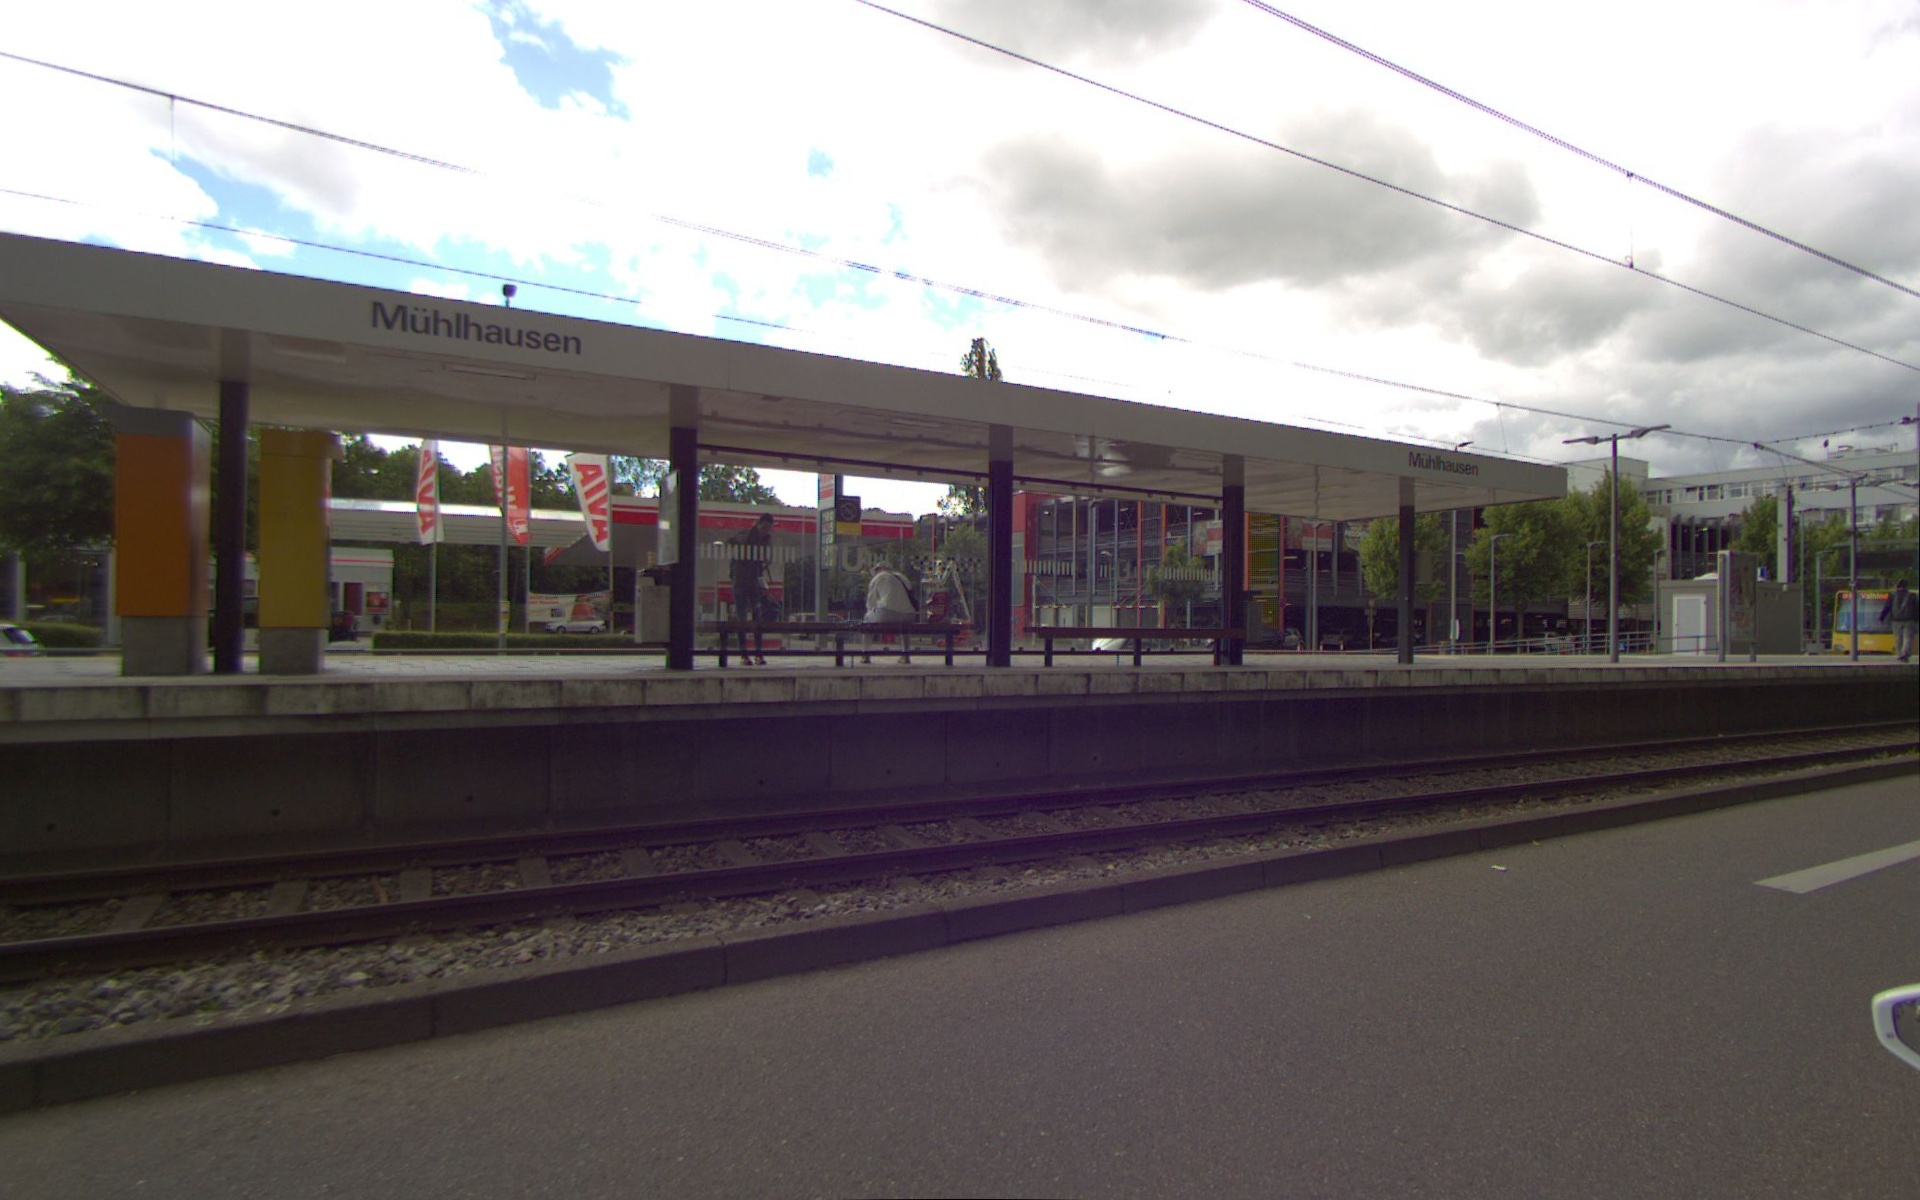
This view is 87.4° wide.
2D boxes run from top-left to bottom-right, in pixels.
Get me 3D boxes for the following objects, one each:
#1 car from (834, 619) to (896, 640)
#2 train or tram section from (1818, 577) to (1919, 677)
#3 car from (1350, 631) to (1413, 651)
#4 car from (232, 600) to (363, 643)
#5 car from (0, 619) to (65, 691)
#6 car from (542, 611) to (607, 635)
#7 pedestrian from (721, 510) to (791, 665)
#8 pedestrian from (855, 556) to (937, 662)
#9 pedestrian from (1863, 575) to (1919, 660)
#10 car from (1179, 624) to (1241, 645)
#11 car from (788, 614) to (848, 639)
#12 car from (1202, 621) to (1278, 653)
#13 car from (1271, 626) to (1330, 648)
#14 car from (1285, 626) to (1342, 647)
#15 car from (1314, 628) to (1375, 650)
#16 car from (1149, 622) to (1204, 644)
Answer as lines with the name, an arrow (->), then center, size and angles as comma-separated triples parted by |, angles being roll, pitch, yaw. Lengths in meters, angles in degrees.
car -> -6.748, 2.107, 71.682 | 4.014, 1.383, 1.899 | 2, -1, -32
train or tram section -> 44.503, 1.331, 45.266 | 18.407, 3.934, 2.744 | 2, -2, -30
car -> 28.633, 2.784, 68.169 | 3.953, 1.327, 1.984 | 2, -3, -30
car -> -22.625, 0.753, 34.466 | 3.591, 1.368, 1.606 | 2, -1, -29
car -> -19.952, 1.031, 19.164 | 3.983, 1.368, 1.605 | 2, -1, -30
car -> -29.963, 1.838, 78.142 | 4.406, 1.728, 1.894 | 3, -3, -39
pedestrian -> -2.235, -0.116, 11.013 | 0.579, 1.641, 0.567 | 2, -3, -31
pedestrian -> -0.766, 0.120, 11.901 | 0.719, 1.205, 0.766 | 2, -1, -27
pedestrian -> 19.877, 0.390, 21.352 | 0.926, 1.767, 0.745 | 2, -3, -31
car -> 16.523, 2.286, 66.383 | 3.756, 1.327, 1.842 | 2, -3, -30
car -> -10.602, 1.989, 75.209 | 4.015, 1.775, 1.899 | 2, -3, -33
car -> 15.345, 2.023, 55.080 | 3.750, 1.728, 1.640 | 1, -1, -16
car -> 20.720, 2.247, 61.074 | 3.501, 1.327, 1.527 | 2, -1, -30
car -> 25.624, 2.658, 72.695 | 3.955, 1.476, 1.814 | 2, -2, -31
car -> 27.103, 2.776, 70.777 | 3.953, 1.492, 1.984 | 2, -3, -30
car -> 14.843, 2.277, 68.856 | 3.519, 1.433, 1.708 | 2, -3, -30
